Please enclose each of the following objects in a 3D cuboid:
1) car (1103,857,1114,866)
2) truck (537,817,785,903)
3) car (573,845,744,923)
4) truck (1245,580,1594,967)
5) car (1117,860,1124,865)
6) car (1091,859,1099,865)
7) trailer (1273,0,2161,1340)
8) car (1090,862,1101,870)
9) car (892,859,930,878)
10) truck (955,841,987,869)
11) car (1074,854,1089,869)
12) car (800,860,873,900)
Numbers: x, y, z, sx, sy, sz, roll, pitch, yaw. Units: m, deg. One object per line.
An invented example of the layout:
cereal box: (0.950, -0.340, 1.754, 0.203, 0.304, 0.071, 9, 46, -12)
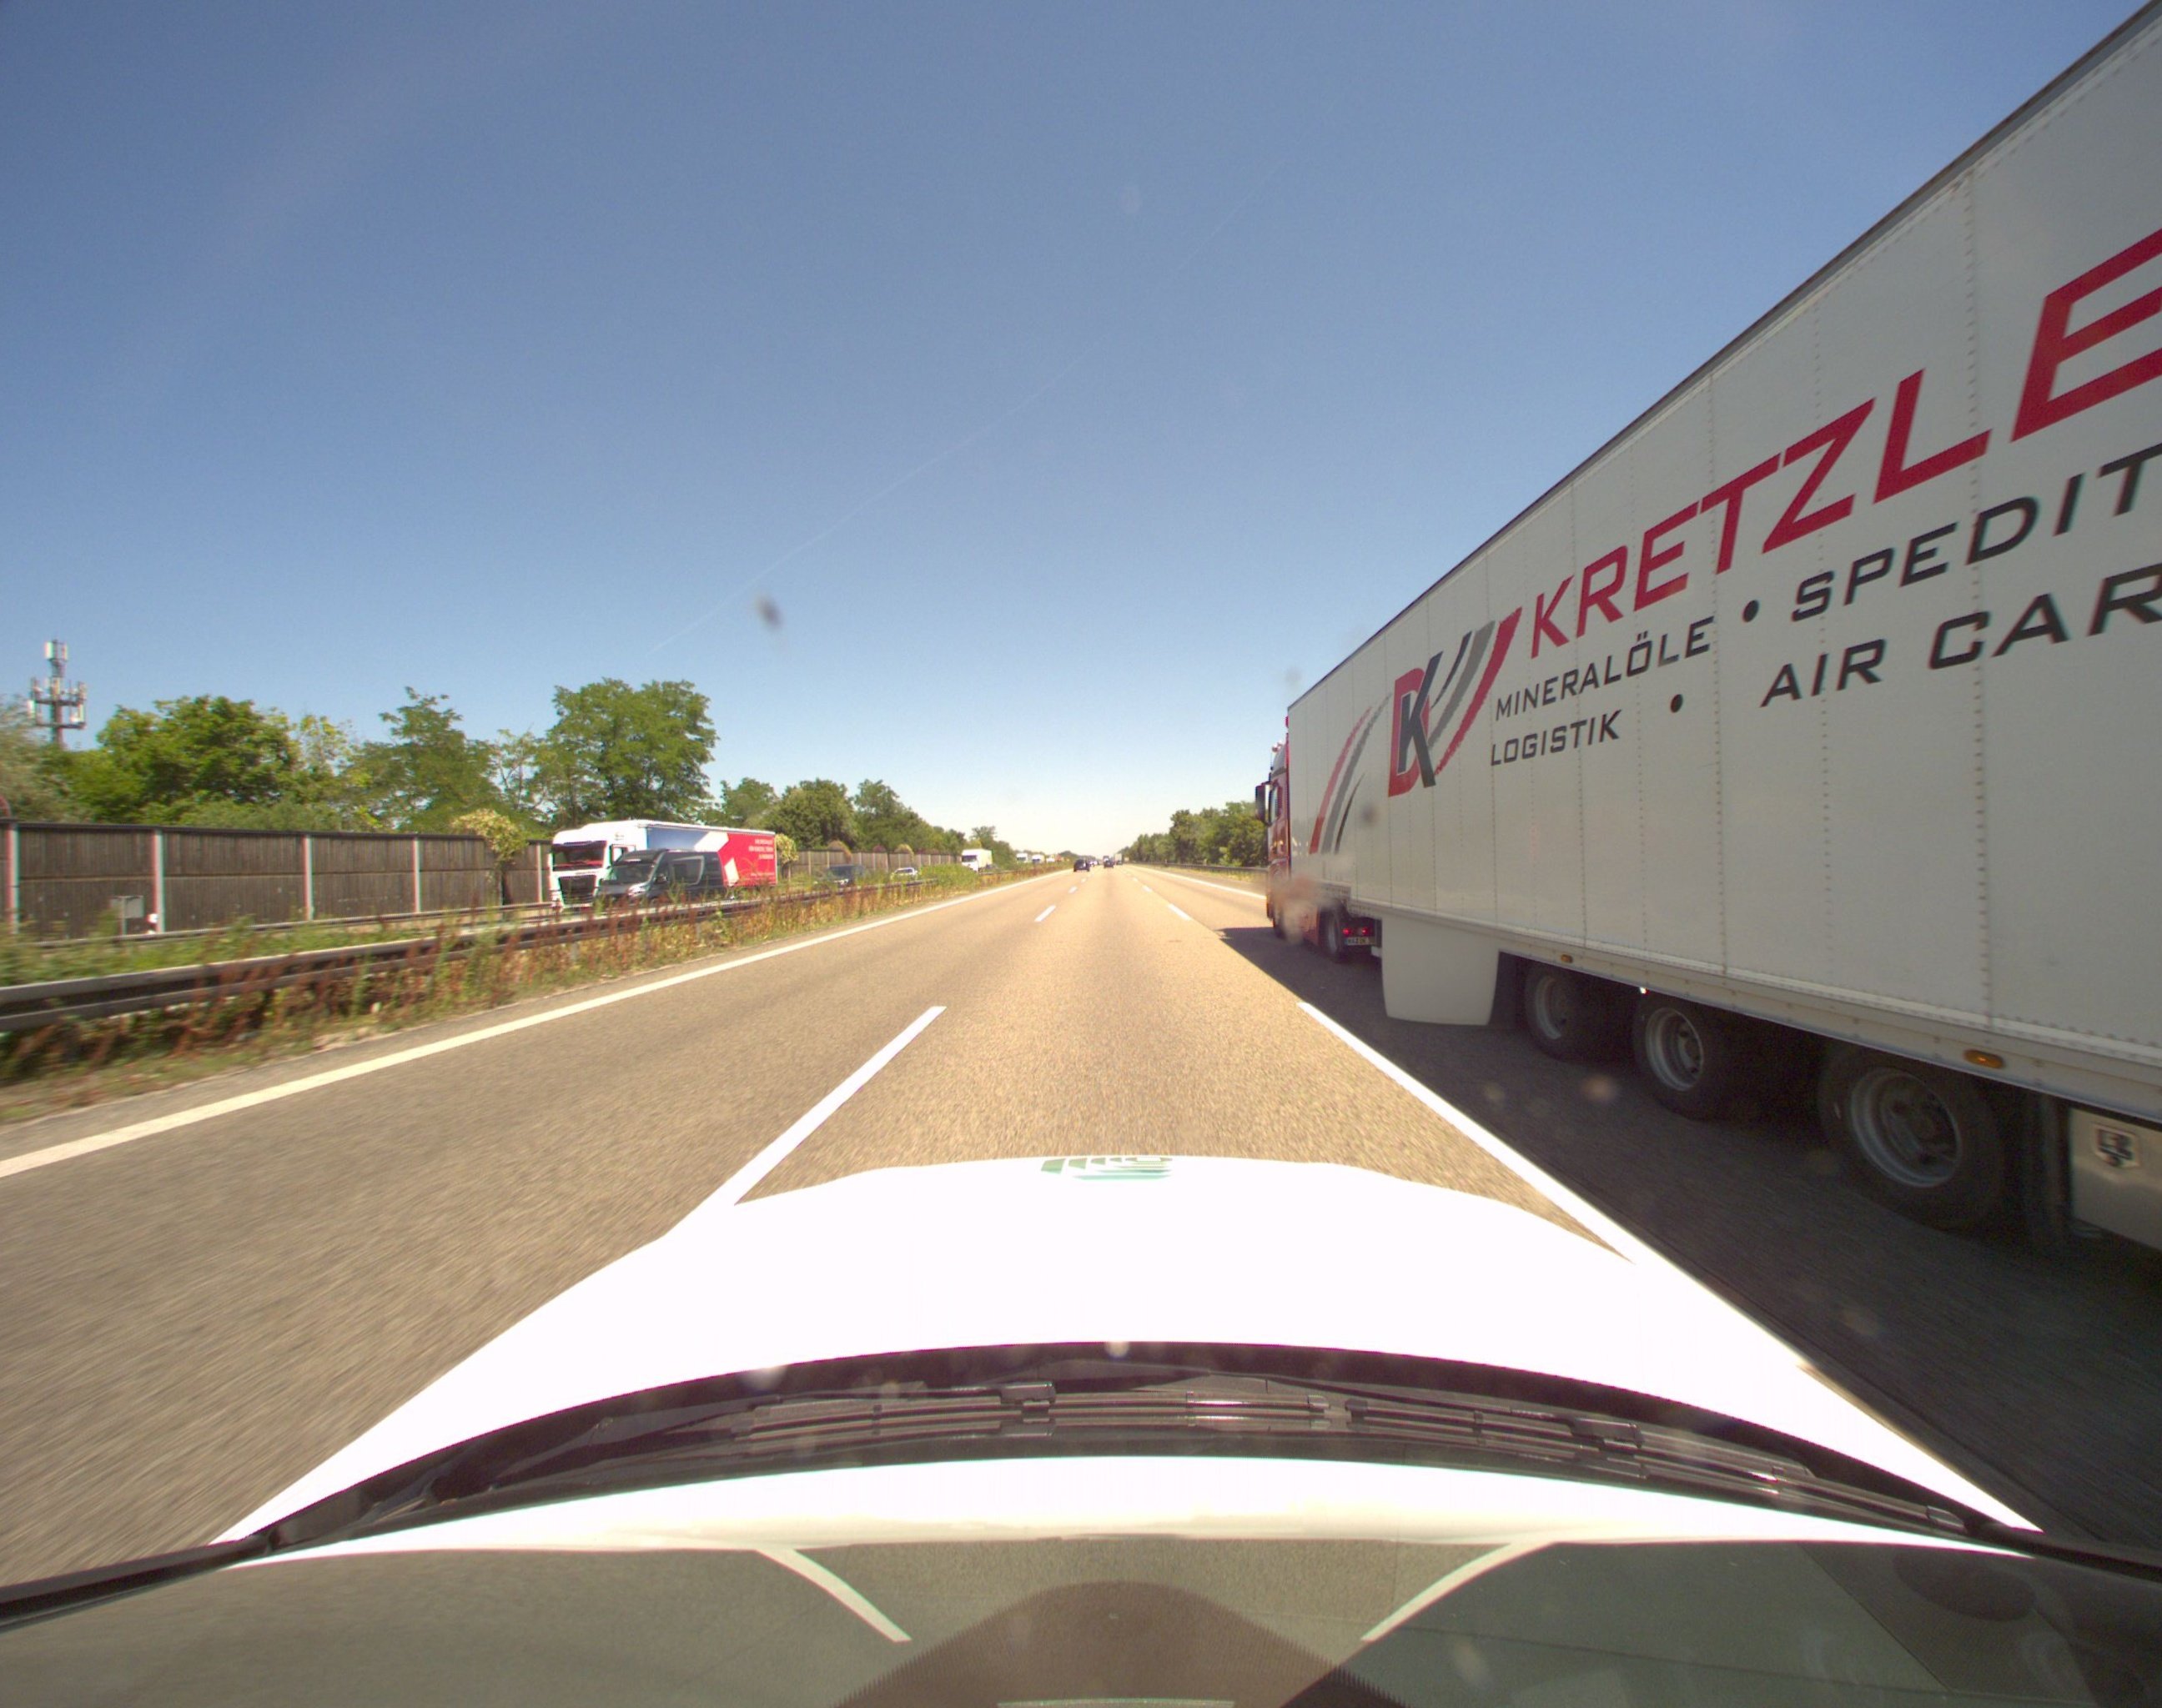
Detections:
car: (4.736, 1.302, 141.025, 1.896, 1.584, 4.306, -2, -1, 2)
truck: (-19.592, 0.200, 40.496, 2.826, 3.342, 17.014, -1, 0, 2)
car: (-15.998, 1.047, 31.584, 2.306, 2.563, 7.588, 2, 0, 2)
truck: (5.016, -1.039, 13.887, 3.221, 4.889, 6.976, -1, 0, 2)
car: (12.354, 2.784, 257.125, 2.120, 1.584, 4.306, -2, -1, 2)
car: (4.067, 2.186, 231.373, 2.121, 1.645, 4.304, -2, -1, 1)
trailer: (4.736, -1.152, 7.163, 3.256, 4.837, 14.037, -1, 0, 2)
car: (3.077, 2.482, 174.274, 2.120, 1.645, 4.306, -2, -1, 2)
car: (-13.191, 1.091, 63.436, 1.771, 1.412, 4.501, -2, 0, 2)
truck: (-17.205, 0.191, 128.449, 3.568, 4.103, 7.842, -2, 0, 2)
car: (0.107, 0.880, 102.799, 1.874, 1.792, 4.000, -2, 0, 0)
car: (-11.700, 1.181, 39.342, 1.771, 1.750, 5.082, -2, 0, 2)
